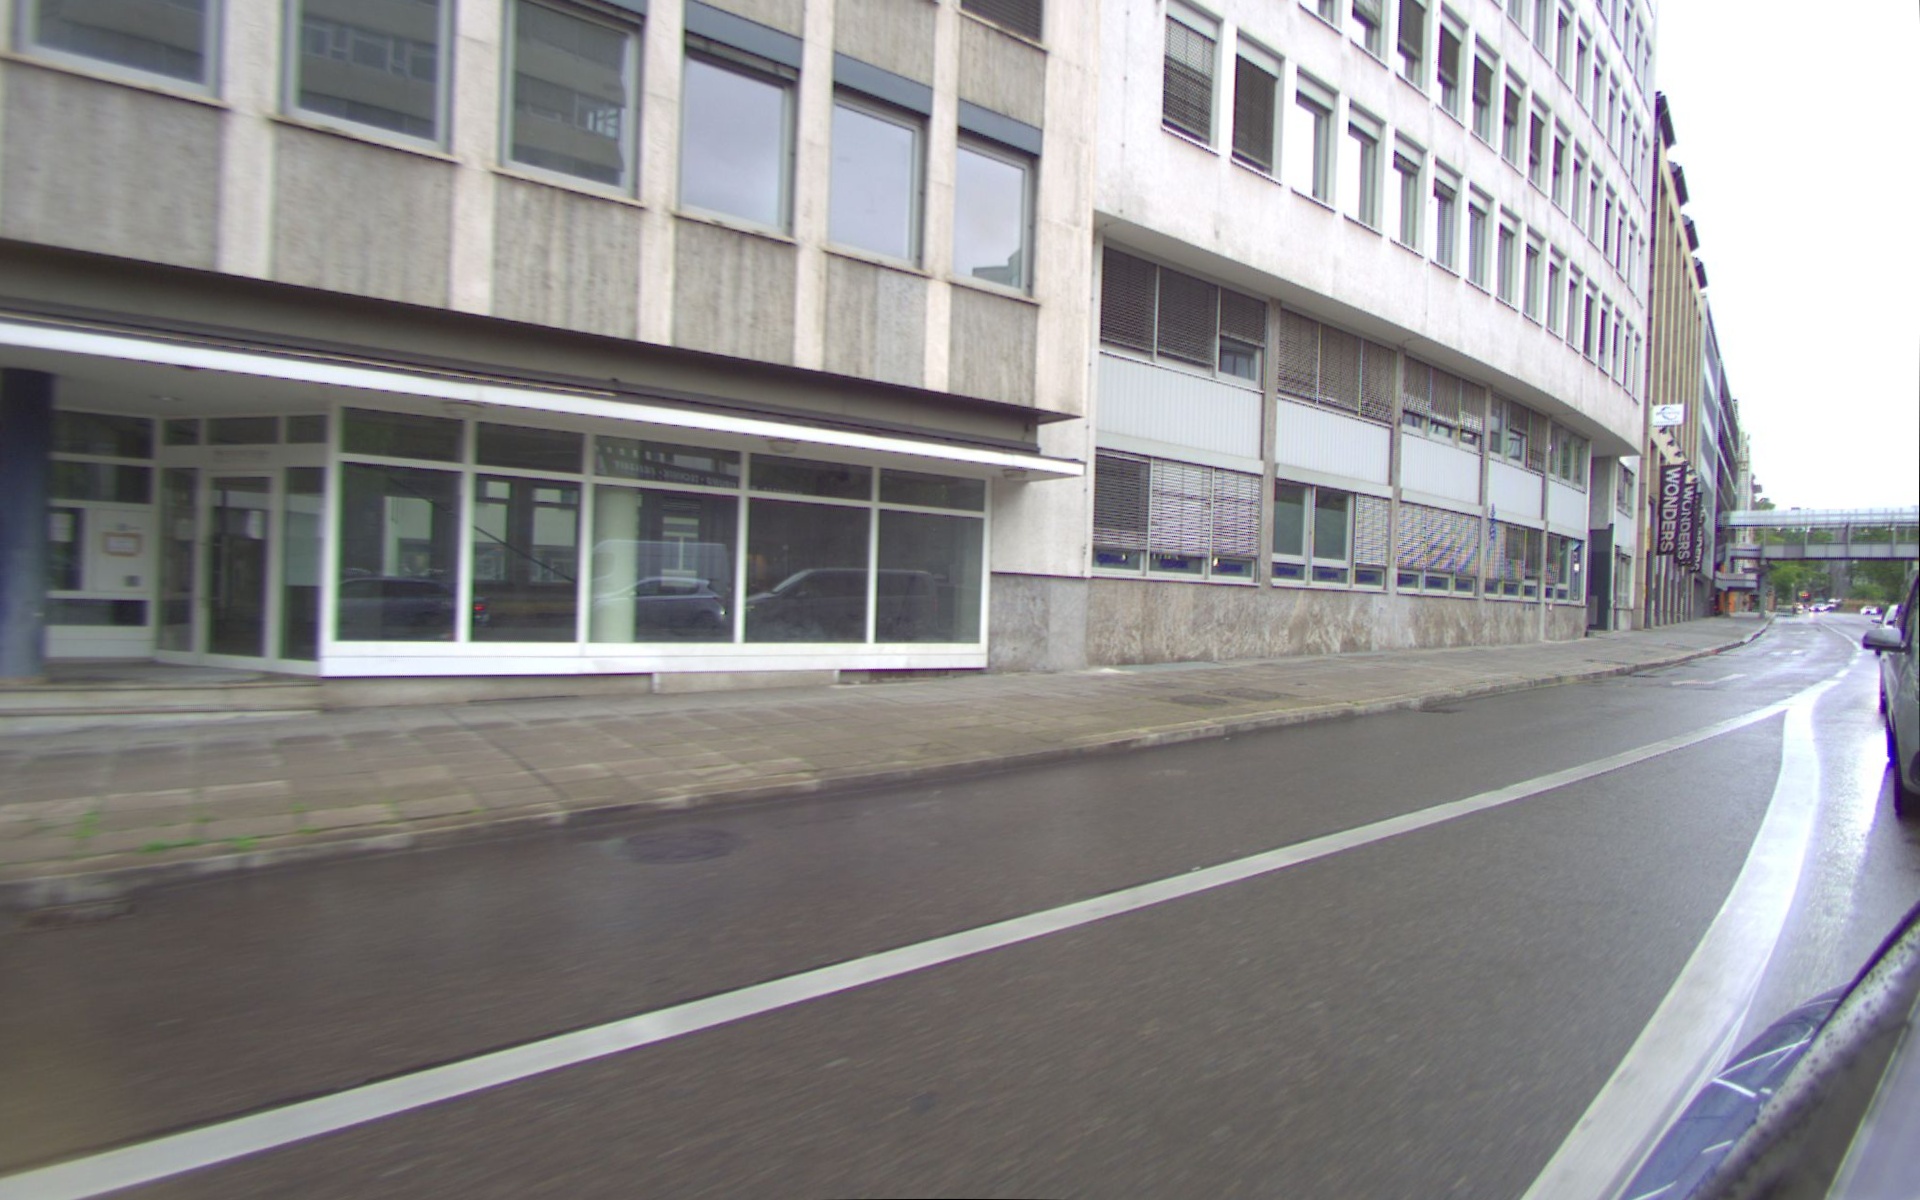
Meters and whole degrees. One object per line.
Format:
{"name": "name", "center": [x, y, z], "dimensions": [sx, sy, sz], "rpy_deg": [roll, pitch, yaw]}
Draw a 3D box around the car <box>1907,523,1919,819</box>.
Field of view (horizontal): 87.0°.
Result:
{"name": "car", "center": [8.448, 0.448, 7.609], "dimensions": [1.911, 1.879, 4.948], "rpy_deg": [0, 0, 43]}
